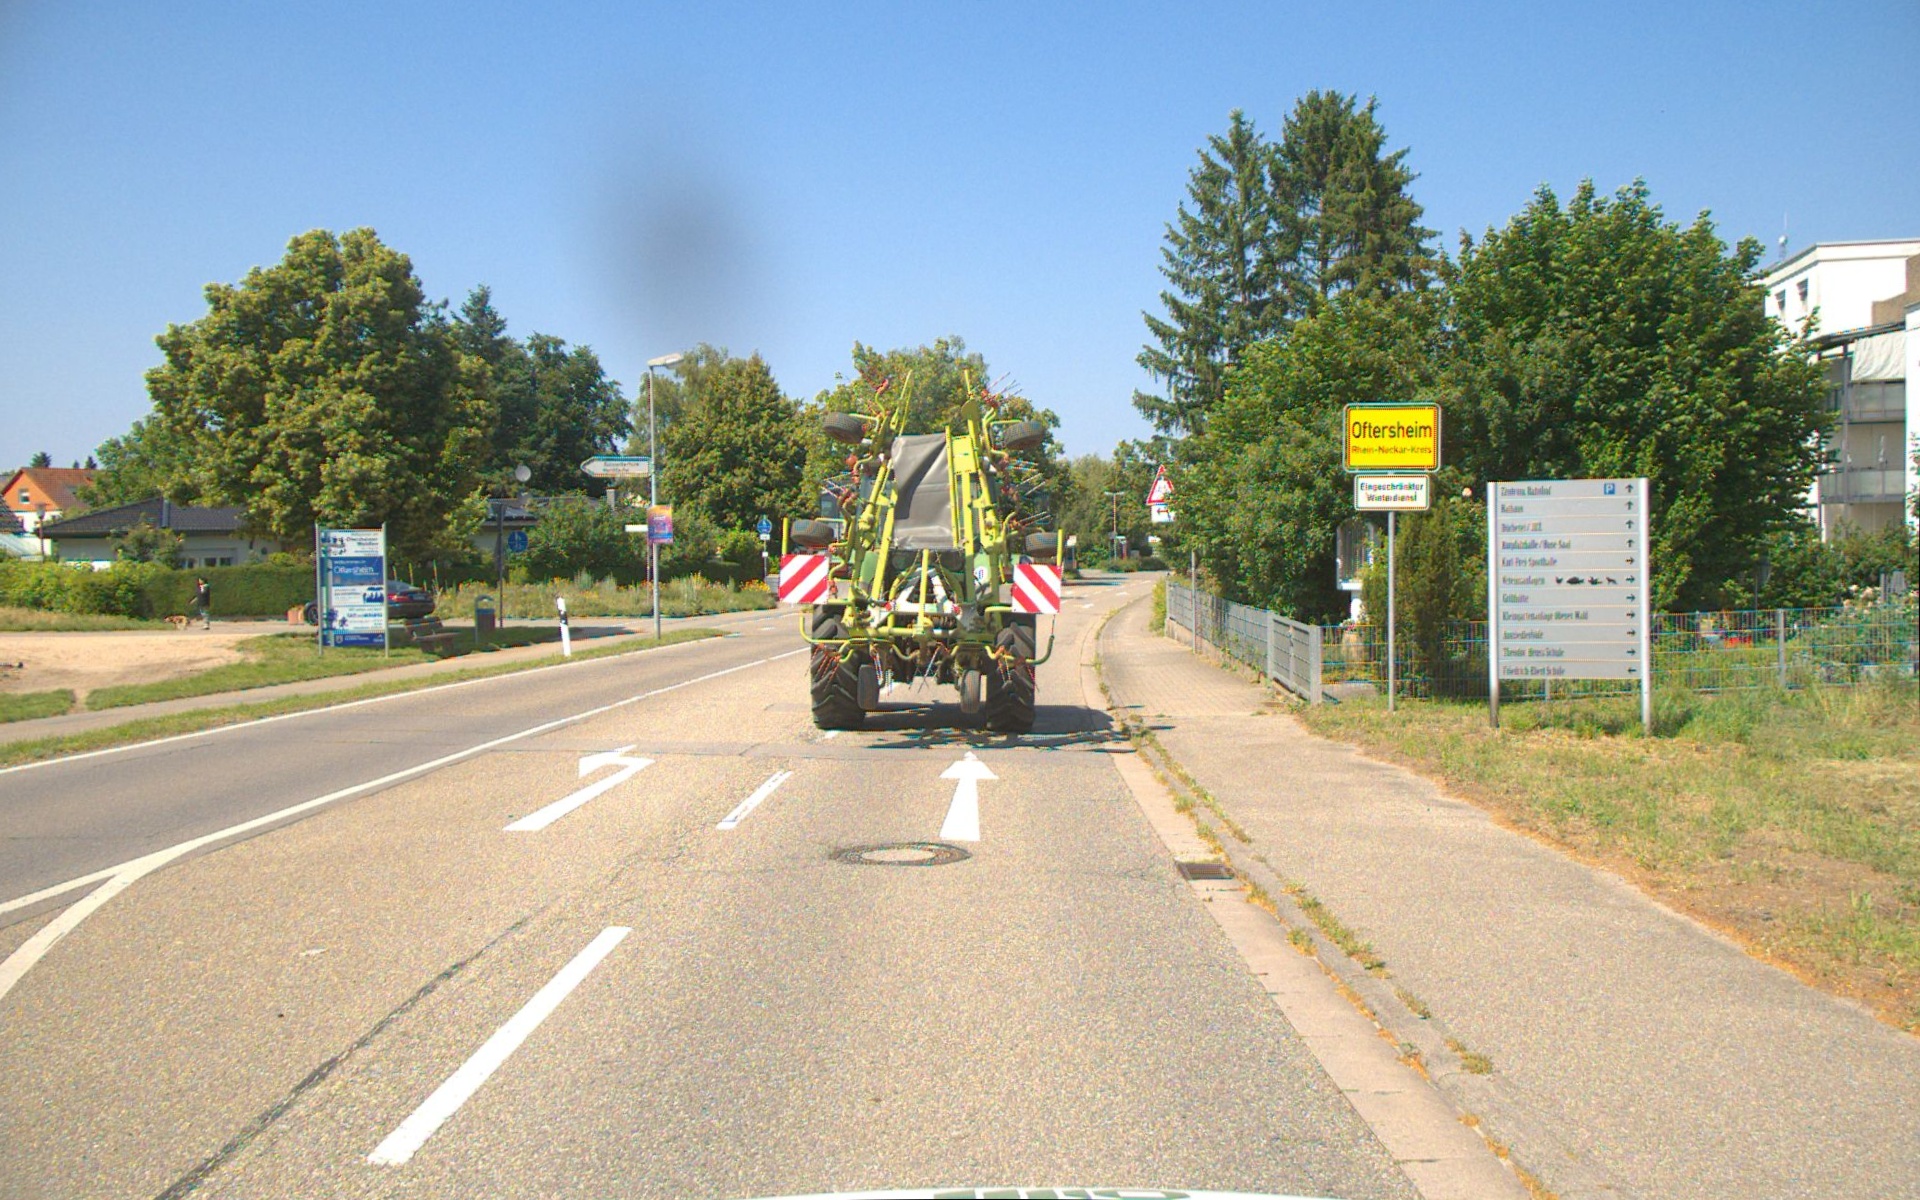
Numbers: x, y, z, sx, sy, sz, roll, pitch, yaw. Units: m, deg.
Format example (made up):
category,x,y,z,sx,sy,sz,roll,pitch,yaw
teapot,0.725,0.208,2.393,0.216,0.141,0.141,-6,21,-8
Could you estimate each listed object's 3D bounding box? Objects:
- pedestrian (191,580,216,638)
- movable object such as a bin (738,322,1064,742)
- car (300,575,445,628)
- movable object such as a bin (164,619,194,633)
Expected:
category,x,y,z,sx,sy,sz,roll,pitch,yaw
pedestrian,-23.071,0.257,50.468,0.665,1.746,0.546,-1,1,-25
movable object such as a bin,-0.304,-0.677,19.062,2.793,3.603,9.705,0,1,2
car,-18.680,0.054,52.603,4.004,1.545,2.000,-1,1,23
movable object such as a bin,-23.582,0.784,49.950,0.747,0.417,0.320,0,1,-4
